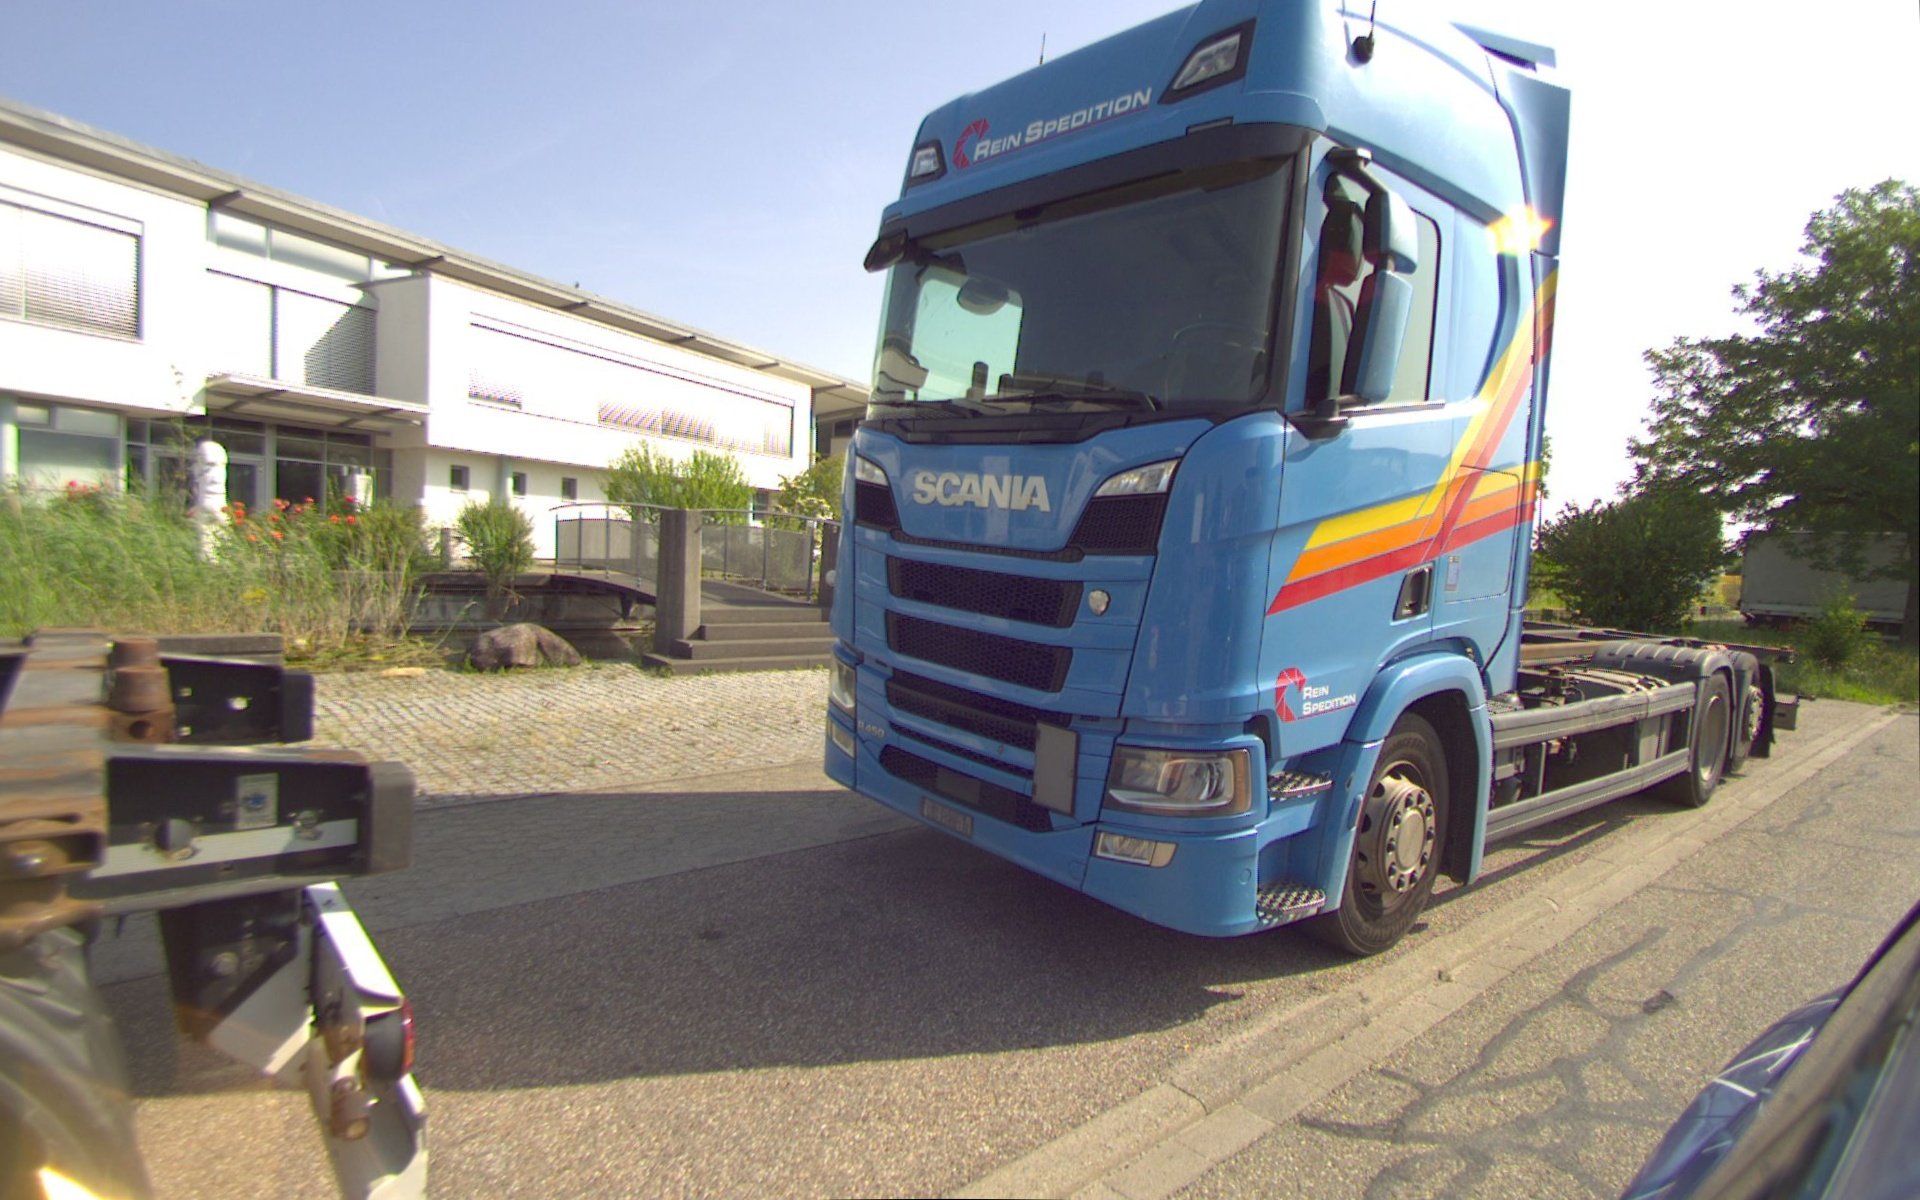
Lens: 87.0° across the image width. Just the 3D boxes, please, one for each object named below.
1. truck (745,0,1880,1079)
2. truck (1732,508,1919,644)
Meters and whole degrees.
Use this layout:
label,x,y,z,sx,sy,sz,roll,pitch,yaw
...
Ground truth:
label,x,y,z,sx,sy,sz,roll,pitch,yaw
truck,3.540,-0.624,7.084,9.586,3.575,2.896,-1,7,-41
truck,25.287,-0.608,25.982,2.694,3.410,8.224,-1,4,-42
